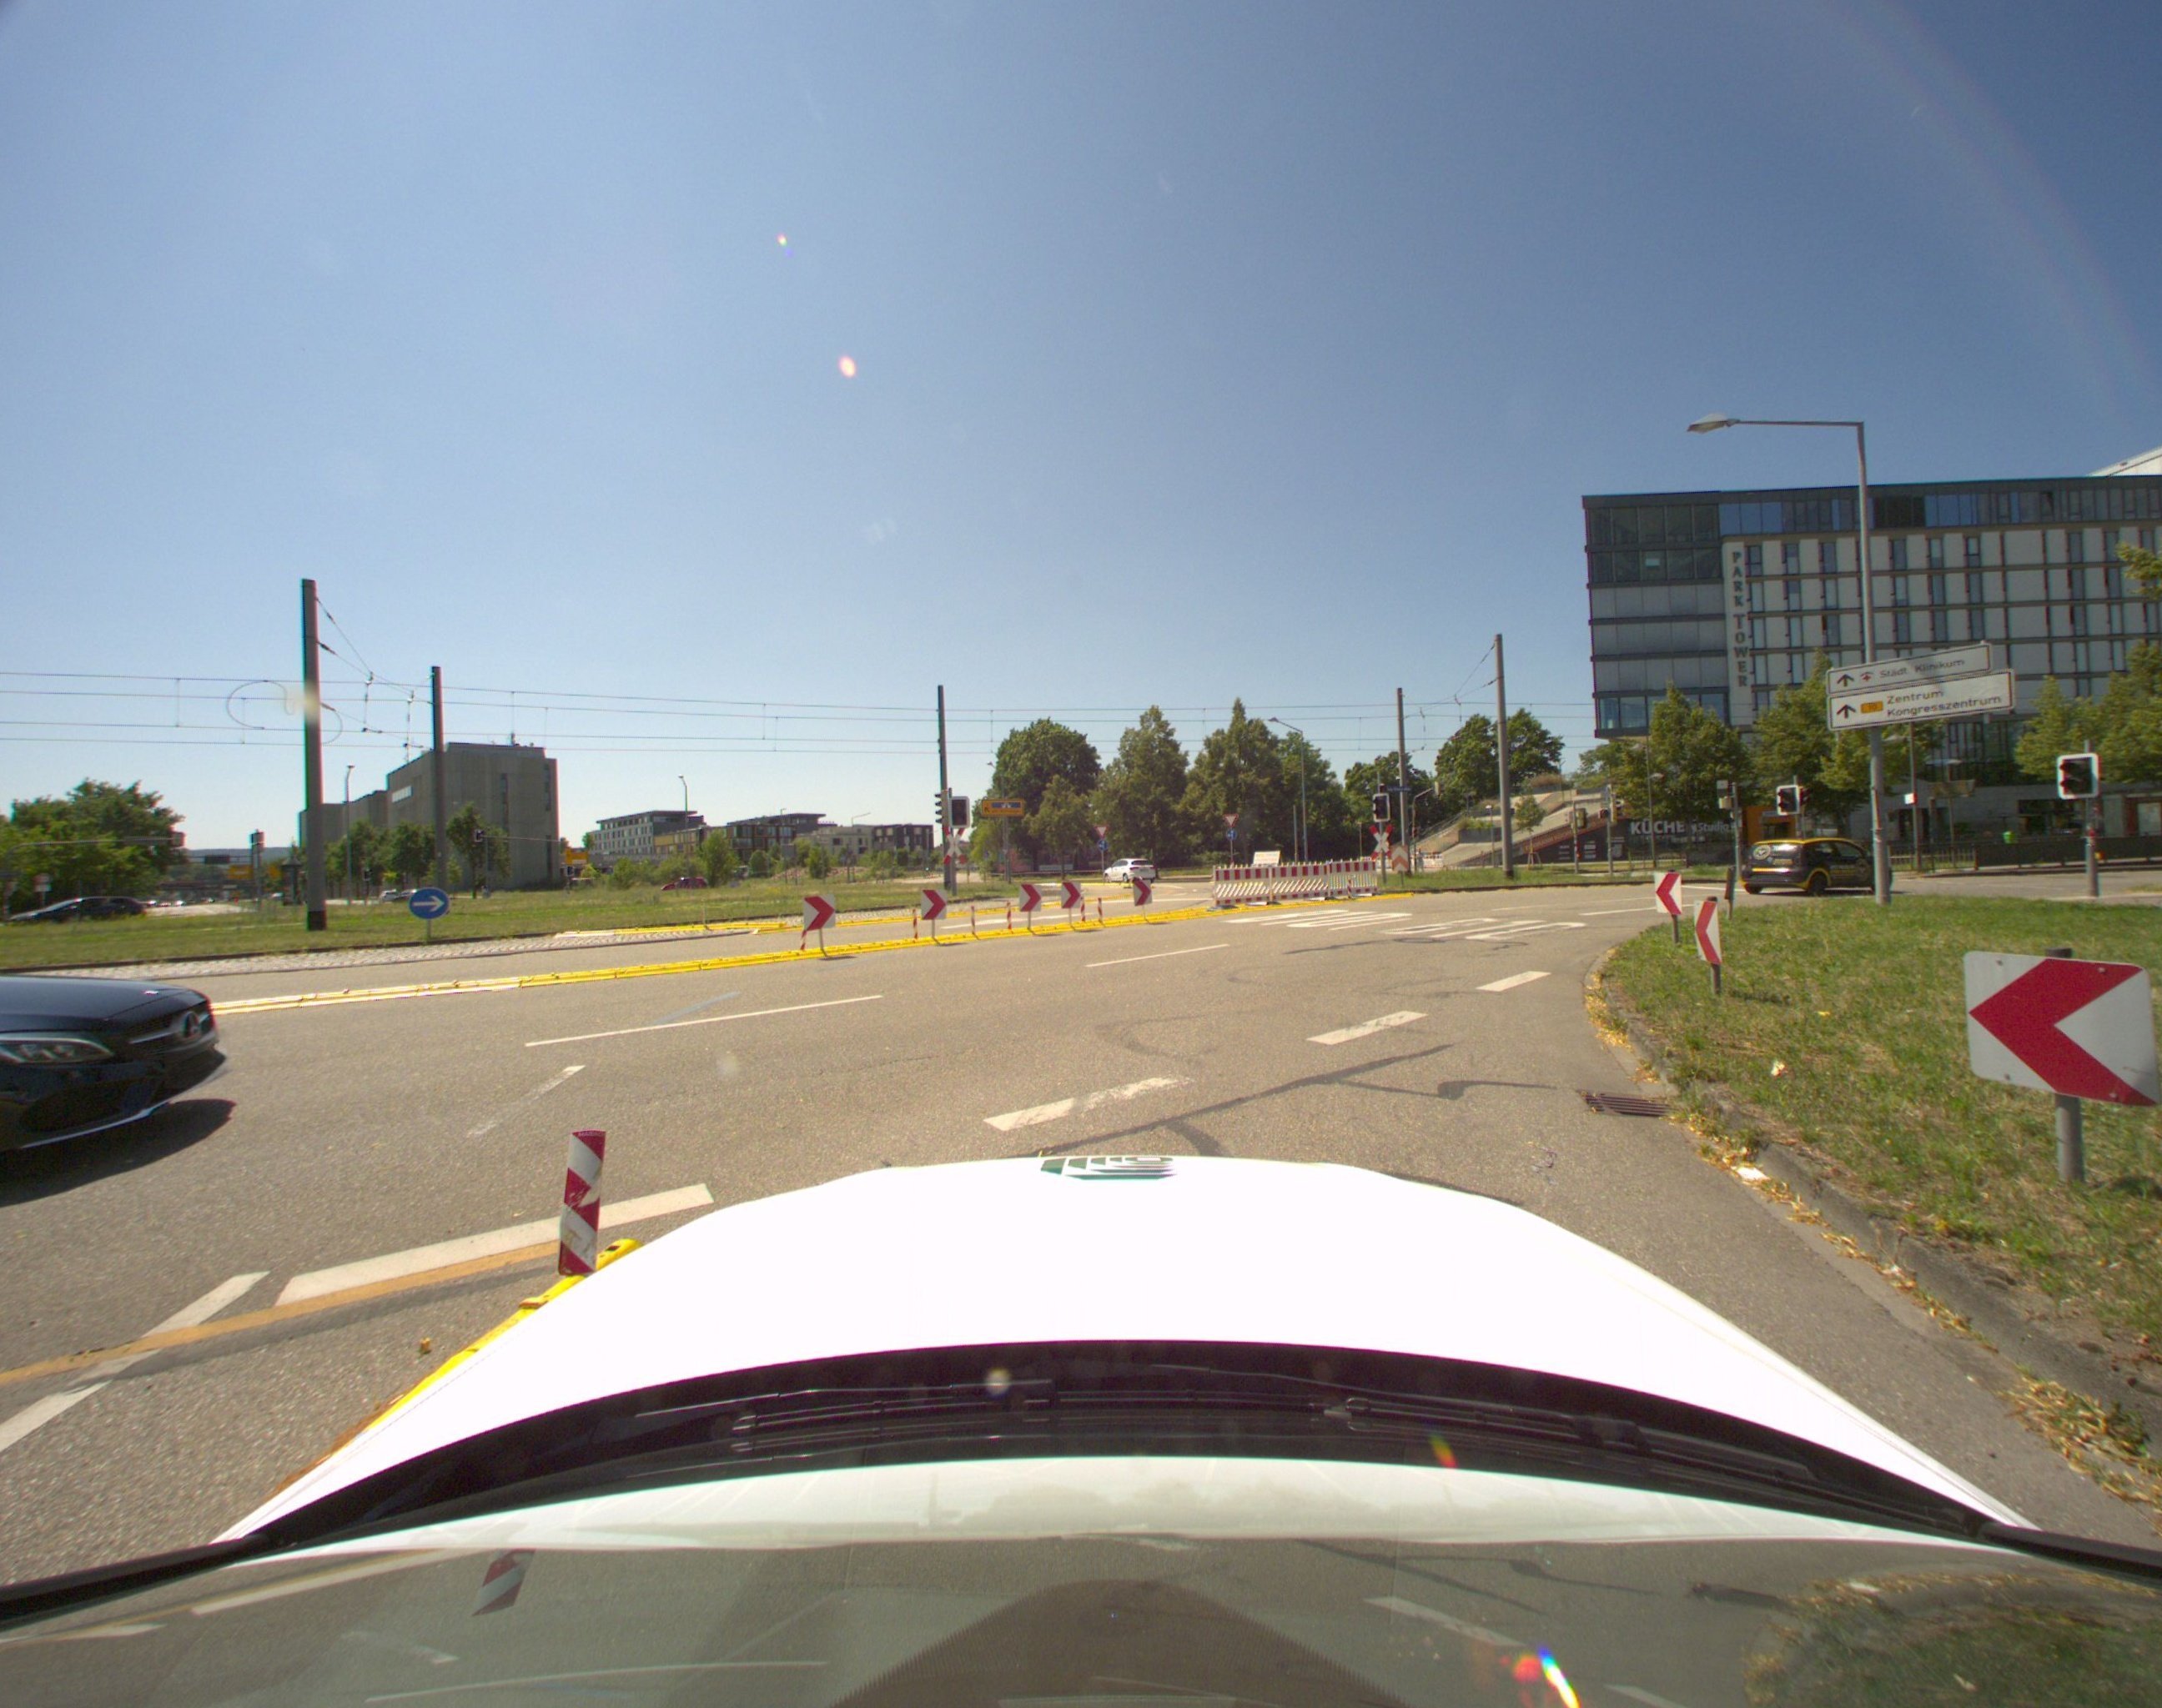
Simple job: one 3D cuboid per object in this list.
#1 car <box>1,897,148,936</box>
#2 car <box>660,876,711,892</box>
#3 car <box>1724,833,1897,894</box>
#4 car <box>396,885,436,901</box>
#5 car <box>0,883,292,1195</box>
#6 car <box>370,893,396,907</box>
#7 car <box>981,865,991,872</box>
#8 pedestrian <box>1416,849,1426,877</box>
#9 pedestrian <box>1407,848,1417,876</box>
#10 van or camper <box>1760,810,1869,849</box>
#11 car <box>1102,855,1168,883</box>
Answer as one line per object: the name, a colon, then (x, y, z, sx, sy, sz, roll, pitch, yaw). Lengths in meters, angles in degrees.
car: (-46.790, 2.874, 37.952, 1.707, 1.461, 4.074, -2, -1, 30)
car: (-31.806, 2.425, 65.590, 3.522, 1.089, 1.487, -2, 0, -21)
car: (18.921, 0.226, 21.143, 3.986, 1.451, 1.613, -1, -1, -20)
car: (-54.314, 3.217, 66.480, 3.431, 1.192, 1.565, -2, 0, 33)
car: (-7.368, 0.995, 3.761, 4.967, 1.436, 1.841, -2, 0, -27)
car: (-85.890, 5.669, 100.204, 3.949, 1.618, 2.012, -3, -2, 43)
car: (-19.443, 3.043, 166.603, 1.655, 1.372, 3.028, -2, -1, -3)
pedestrian: (21.306, 0.545, 50.993, 0.446, 1.739, 0.318, -2, -1, -1)
pedestrian: (20.728, 0.492, 51.006, 0.446, 1.739, 0.291, -2, -1, -1)
van or camper: (58.846, -1.955, 65.406, 6.749, 2.822, 2.380, -2, -1, -3)
car: (3.105, 0.894, 47.762, 2.004, 1.486, 4.329, -2, -1, -26)
